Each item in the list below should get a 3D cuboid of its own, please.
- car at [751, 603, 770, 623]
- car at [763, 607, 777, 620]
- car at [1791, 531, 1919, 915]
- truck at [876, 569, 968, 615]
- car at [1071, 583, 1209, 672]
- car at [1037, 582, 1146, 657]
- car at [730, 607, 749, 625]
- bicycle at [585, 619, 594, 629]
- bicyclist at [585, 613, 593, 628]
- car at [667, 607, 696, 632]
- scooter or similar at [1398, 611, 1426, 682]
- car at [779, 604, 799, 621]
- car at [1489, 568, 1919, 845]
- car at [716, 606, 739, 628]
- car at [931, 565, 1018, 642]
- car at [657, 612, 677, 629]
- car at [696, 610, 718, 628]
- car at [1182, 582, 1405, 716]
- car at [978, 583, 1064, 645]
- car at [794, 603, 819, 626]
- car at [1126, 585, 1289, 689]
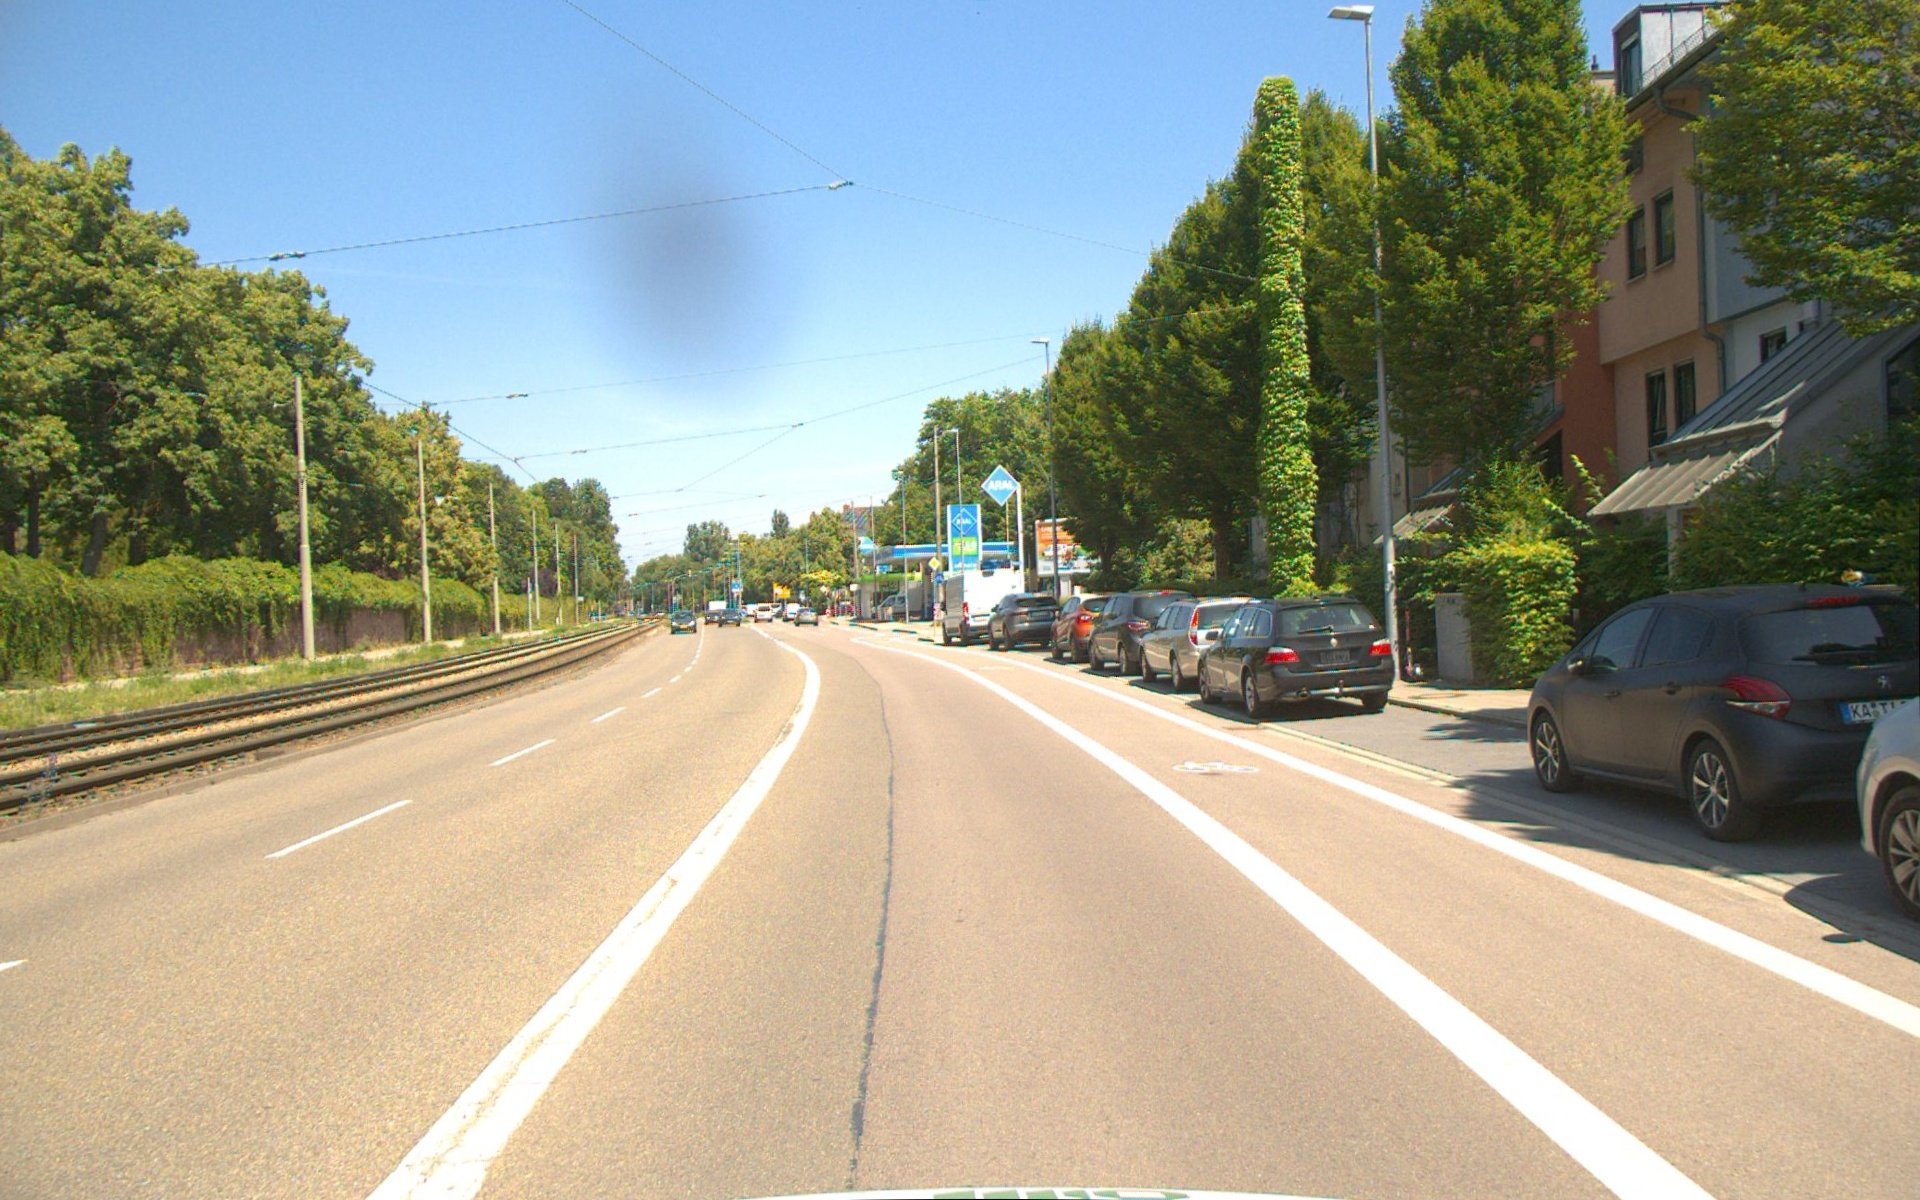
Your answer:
[{"bbox_3d":[-20.257,1.288,168.108,1.723,1.907,4.315,-3,0,-9],"label":"car"},{"bbox_3d":[-27.013,1.911,235.395,1.724,1.658,4.315,-4,0,-9],"label":"car"},{"bbox_3d":[5.175,0.509,6.054,1.803,1.723,4.779,-4,0,1],"label":"car"},{"bbox_3d":[-3.338,-0.707,144.034,7.809,3.665,2.661,-2,0,-3],"label":"truck"},{"bbox_3d":[3.617,0.530,34.011,1.676,1.589,4.315,-4,0,-9],"label":"car"},{"bbox_3d":[3.118,0.446,39.927,1.675,1.589,4.316,-4,0,-7],"label":"car"},{"bbox_3d":[-22.044,1.625,165.573,1.723,1.658,4.317,-4,0,-7],"label":"car"},{"bbox_3d":[-42.705,2.775,190.690,0.668,1.072,2.007,-6,0,-4],"label":"bicycle"},{"bbox_3d":[-42.750,2.385,190.702,0.668,1.601,0.795,-6,-1,-4],"label":"bicyclist"},{"bbox_3d":[-18.629,1.293,110.789,1.724,1.535,4.315,-4,0,-9],"label":"car"},{"bbox_3d":[6.856,0.692,25.116,0.327,1.050,1.083,0,-1,11],"label":"scooter or similar"},{"bbox_3d":[-17.567,1.279,169.642,1.724,1.658,4.315,-4,0,-9],"label":"car"},{"bbox_3d":[5.187,0.578,11.339,1.552,1.448,4.178,-4,0,-2],"label":"car"},{"bbox_3d":[-19.606,1.418,139.414,1.724,1.658,4.315,-4,0,-9],"label":"car"},{"bbox_3d":[0.468,0.142,60.021,1.965,2.499,6.095,-4,0,-10],"label":"car"},{"bbox_3d":[-31.878,2.198,179.741,1.726,1.658,4.308,-4,0,-14],"label":"car"},{"bbox_3d":[-25.487,1.940,166.766,1.726,1.658,4.308,-4,0,-14],"label":"car"},{"bbox_3d":[4.439,0.602,22.830,1.673,1.518,5.034,-4,0,-4],"label":"car"},{"bbox_3d":[1.786,0.411,49.903,1.724,1.658,4.315,-4,0,-9],"label":"car"},{"bbox_3d":[-12.458,1.167,133.993,1.724,1.658,4.315,-4,0,-9],"label":"car"},{"bbox_3d":[4.167,0.582,28.592,1.674,1.518,4.727,-4,0,-4],"label":"car"}]
